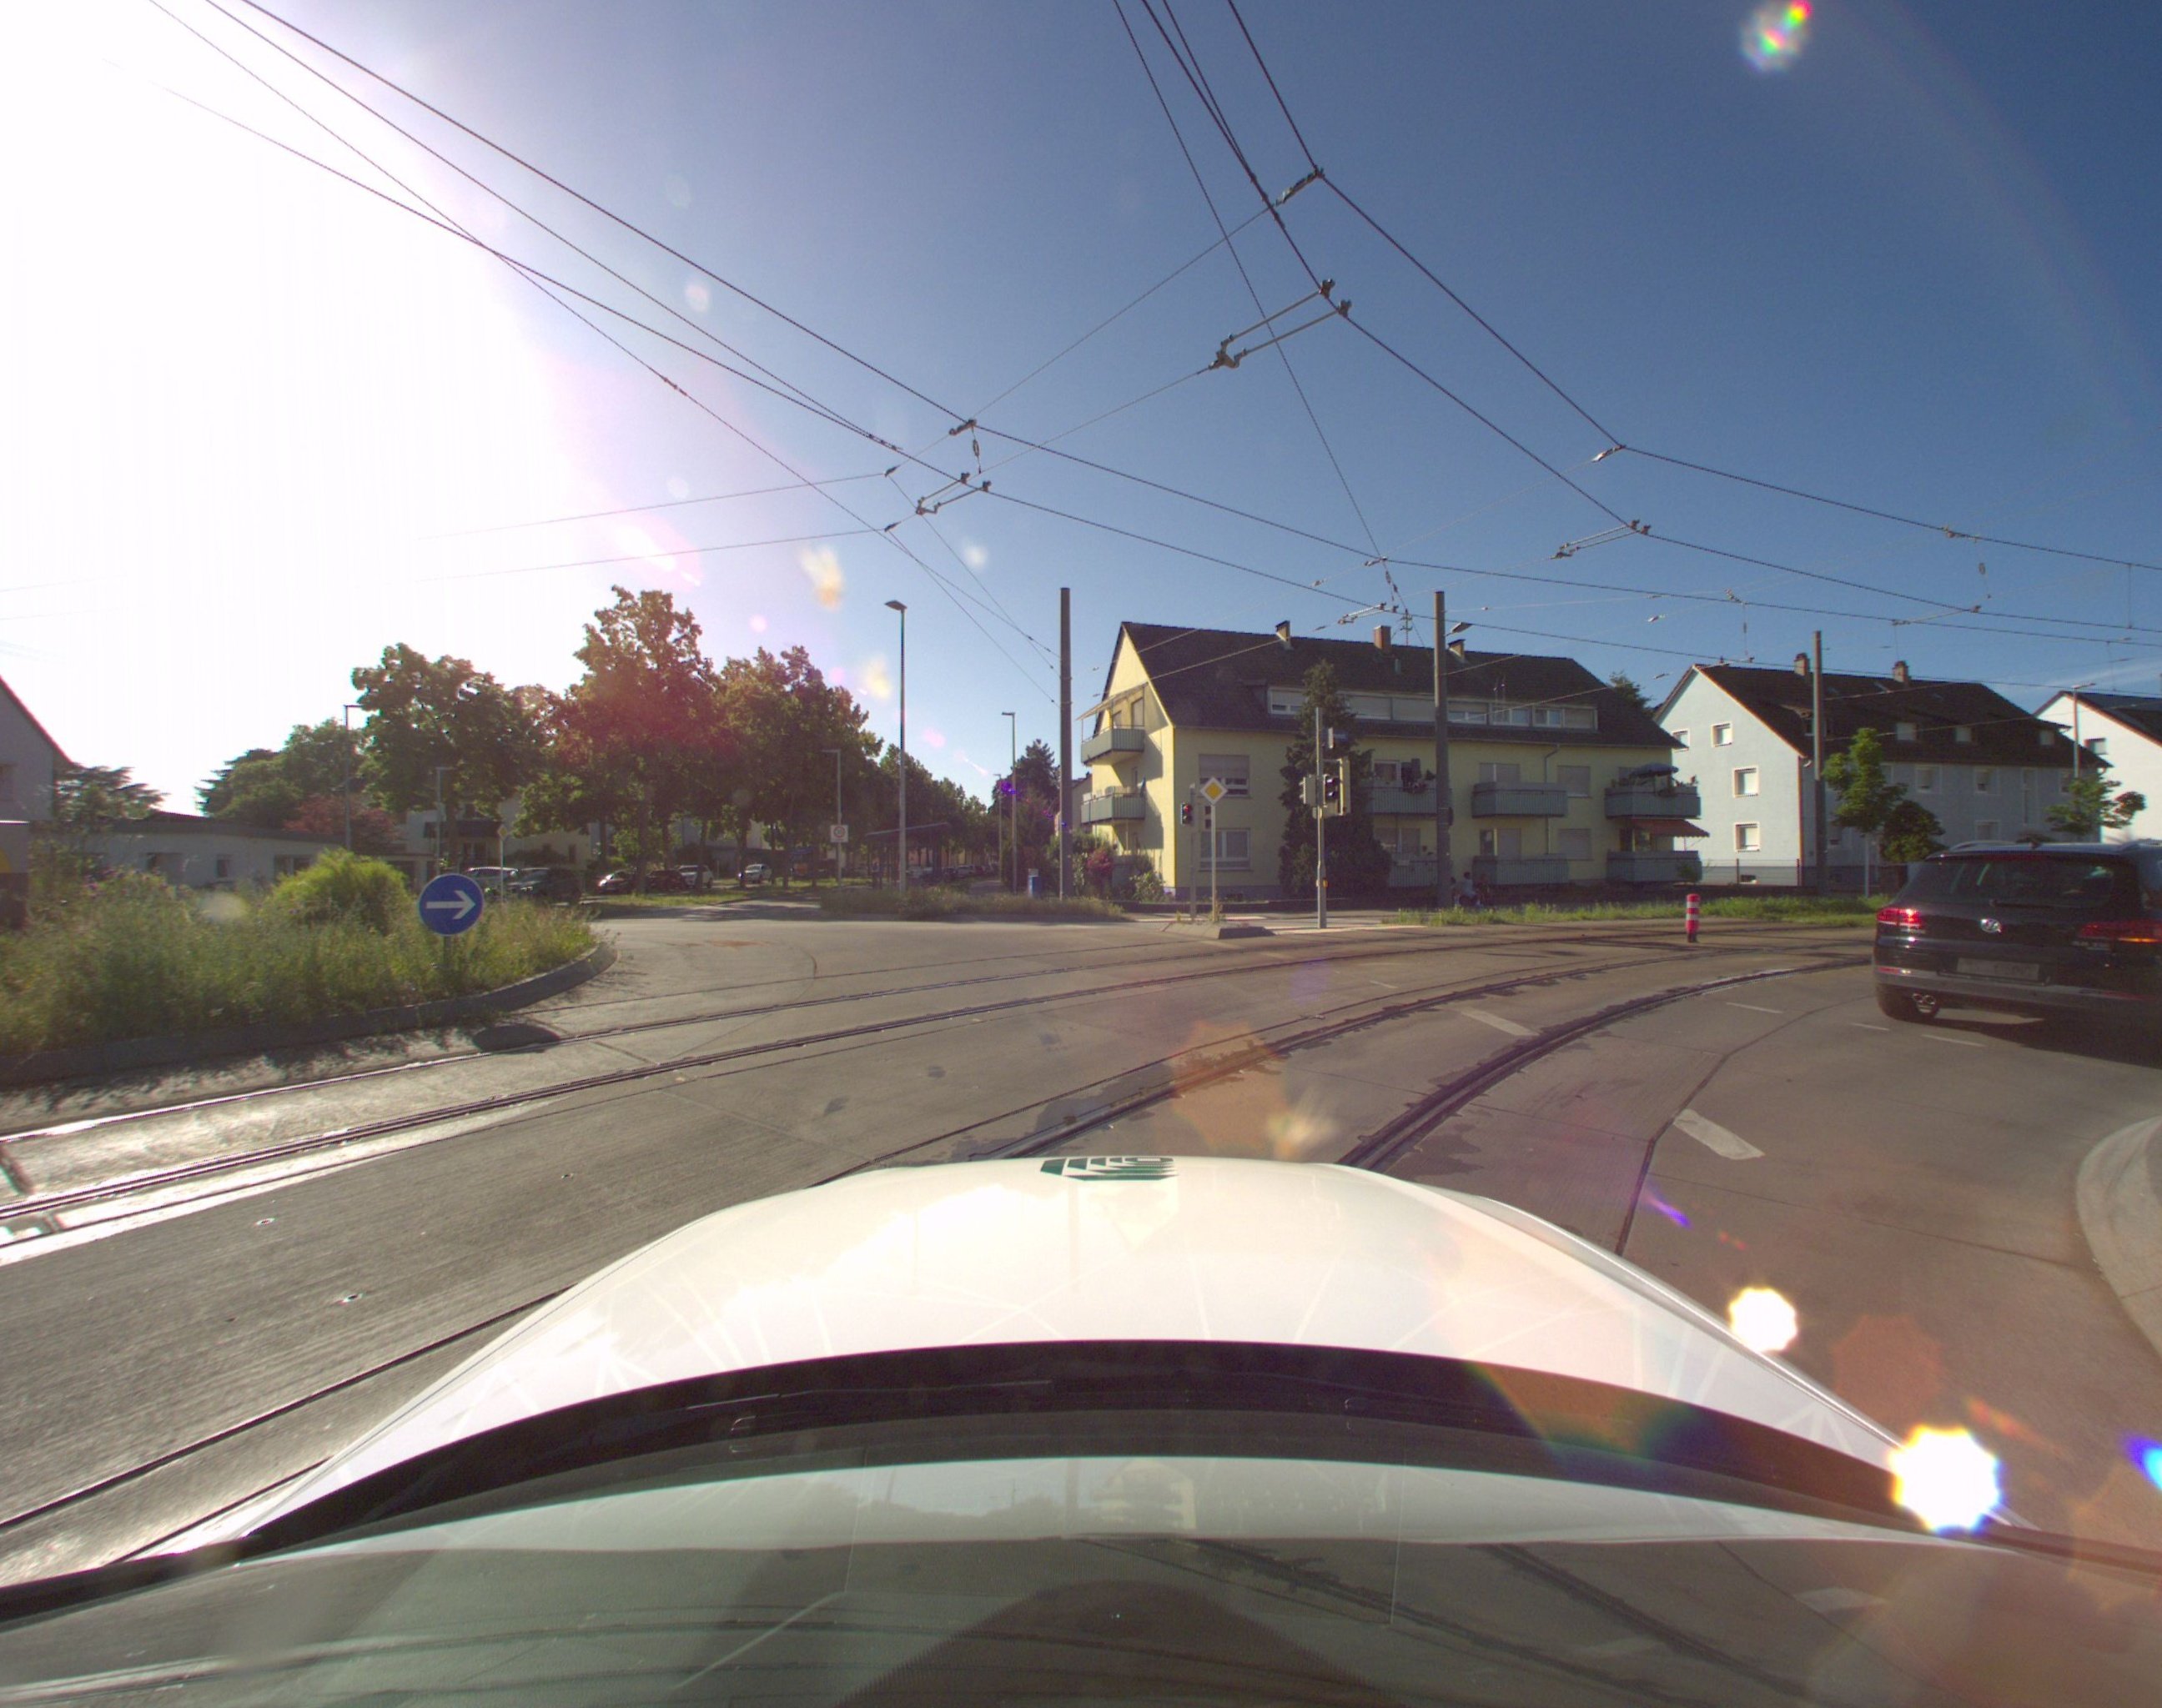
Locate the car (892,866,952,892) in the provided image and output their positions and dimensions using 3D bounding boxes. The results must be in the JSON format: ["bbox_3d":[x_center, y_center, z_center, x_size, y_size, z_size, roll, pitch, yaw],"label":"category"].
[{"bbox_3d":[-9.954,1.550,51.117,3.513,1.533,1.573,1,-1,-7],"label":"car"}]

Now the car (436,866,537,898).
[{"bbox_3d":[-33.331,1.564,45.776,4.033,1.694,1.995,1,-1,-7],"label":"car"}]

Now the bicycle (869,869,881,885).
[{"bbox_3d":[-13.866,1.573,54.853,0.767,1.037,1.526,0,-2,-15],"label":"bicycle"}]

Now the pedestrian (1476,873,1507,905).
[{"bbox_3d":[13.391,1.140,26.562,0.598,1.006,0.716,2,-2,-38],"label":"pedestrian"}]

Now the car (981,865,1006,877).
[{"bbox_3d":[-12.478,2.428,115.902,3.514,1.533,1.573,1,-1,-8],"label":"car"}]

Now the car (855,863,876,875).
[{"bbox_3d":[-30.769,2.120,116.468,1.989,1.700,4.213,1,-1,-3],"label":"car"}]

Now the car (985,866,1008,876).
[{"bbox_3d":[-13.113,2.596,126.523,3.514,1.533,1.573,1,-1,-8],"label":"car"}]

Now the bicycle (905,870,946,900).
[{"bbox_3d":[-6.576,1.308,34.415,1.666,1.208,0.686,1,-1,-11],"label":"bicycle"}]

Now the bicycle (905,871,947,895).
[{"bbox_3d":[-7.058,1.324,37.160,1.841,1.027,0.686,1,-1,-12],"label":"bicycle"}]

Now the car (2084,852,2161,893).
[{"bbox_3d":[41.439,0.698,31.500,4.205,1.518,1.690,0,-1,-14],"label":"car"}]

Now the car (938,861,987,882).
[{"bbox_3d":[-8.876,1.309,61.122,3.513,1.533,1.573,1,-1,-7],"label":"car"}]

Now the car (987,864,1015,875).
[{"bbox_3d":[-10.417,2.042,105.959,3.514,1.296,1.573,1,-1,-8],"label":"car"}]

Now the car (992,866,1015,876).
[{"bbox_3d":[-12.649,2.710,132.775,3.514,1.533,1.573,1,-1,-8],"label":"car"}]

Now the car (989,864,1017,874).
[{"bbox_3d":[-10.153,1.974,106.223,3.514,1.279,1.573,1,-1,-8],"label":"car"}]

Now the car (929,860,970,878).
[{"bbox_3d":[-11.769,1.389,73.169,3.513,1.533,1.573,1,-1,-7],"label":"car"}]

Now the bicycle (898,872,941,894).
[{"bbox_3d":[-7.704,1.372,38.918,1.974,1.027,0.686,1,-1,-12],"label":"bicycle"}]

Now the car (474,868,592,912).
[{"bbox_3d":[-21.413,1.371,32.064,1.827,1.581,4.433,1,-1,-4],"label":"car"}]

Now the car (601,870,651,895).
[{"bbox_3d":[-28.094,1.747,50.378,1.802,1.464,3.782,1,-1,-15],"label":"car"}]

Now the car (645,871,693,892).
[{"bbox_3d":[-28.519,1.884,56.537,1.963,1.324,3.984,1,-1,-12],"label":"car"}]

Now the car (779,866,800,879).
[{"bbox_3d":[-42.602,2.690,119.019,1.992,1.699,4.206,0,-1,-8],"label":"car"}]

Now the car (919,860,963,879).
[{"bbox_3d":[-11.544,1.288,67.437,3.513,1.533,1.451,1,-1,-7],"label":"car"}]

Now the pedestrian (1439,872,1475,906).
[{"bbox_3d":[12.002,1.101,26.031,0.687,1.046,0.815,1,-1,-17],"label":"pedestrian"}]

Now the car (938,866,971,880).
[{"bbox_3d":[-13.696,2.063,88.190,3.434,1.394,1.236,1,-1,-4],"label":"car"}]

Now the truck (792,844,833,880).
[{"bbox_3d":[-31.406,0.889,95.475,3.067,3.993,7.986,1,-1,-8],"label":"truck"}]

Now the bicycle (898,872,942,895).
[{"bbox_3d":[-7.514,1.357,37.989,1.974,1.027,0.693,1,-1,-12],"label":"bicycle"}]

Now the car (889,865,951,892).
[{"bbox_3d":[-9.741,1.482,49.388,3.513,1.533,1.573,1,-1,-7],"label":"car"}]

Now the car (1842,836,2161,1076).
[{"bbox_3d":[9.132,0.688,7.336,4.263,1.670,1.804,0,1,-24],"label":"car"}]

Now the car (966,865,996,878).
[{"bbox_3d":[-11.838,2.083,96.458,3.477,1.493,1.548,1,-1,-8],"label":"car"}]

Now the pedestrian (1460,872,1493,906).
[{"bbox_3d":[12.802,1.127,26.361,0.809,1.065,0.630,0,-2,43],"label":"pedestrian"}]

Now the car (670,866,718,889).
[{"bbox_3d":[-29.062,1.748,61.311,1.992,1.700,4.206,1,-1,-8],"label":"car"}]

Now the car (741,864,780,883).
[{"bbox_3d":[-30.423,1.829,77.493,1.989,1.773,5.052,1,-1,-4],"label":"car"}]

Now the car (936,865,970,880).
[{"bbox_3d":[-13.467,1.902,85.802,3.405,1.533,1.523,-1,-1,-4],"label":"car"}]

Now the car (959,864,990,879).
[{"bbox_3d":[-11.955,1.955,91.634,3.357,1.533,1.518,1,-1,-8],"label":"car"}]

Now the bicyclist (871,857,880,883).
[{"bbox_3d":[-13.875,1.090,54.988,0.604,1.715,0.541,0,-5,-15],"label":"bicyclist"}]

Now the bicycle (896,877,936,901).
[{"bbox_3d":[-7.210,1.519,35.594,1.690,1.027,0.597,1,-1,-12],"label":"bicycle"}]

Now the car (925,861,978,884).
[{"bbox_3d":[-8.911,1.282,56.146,3.513,1.533,1.573,1,-1,-7],"label":"car"}]
